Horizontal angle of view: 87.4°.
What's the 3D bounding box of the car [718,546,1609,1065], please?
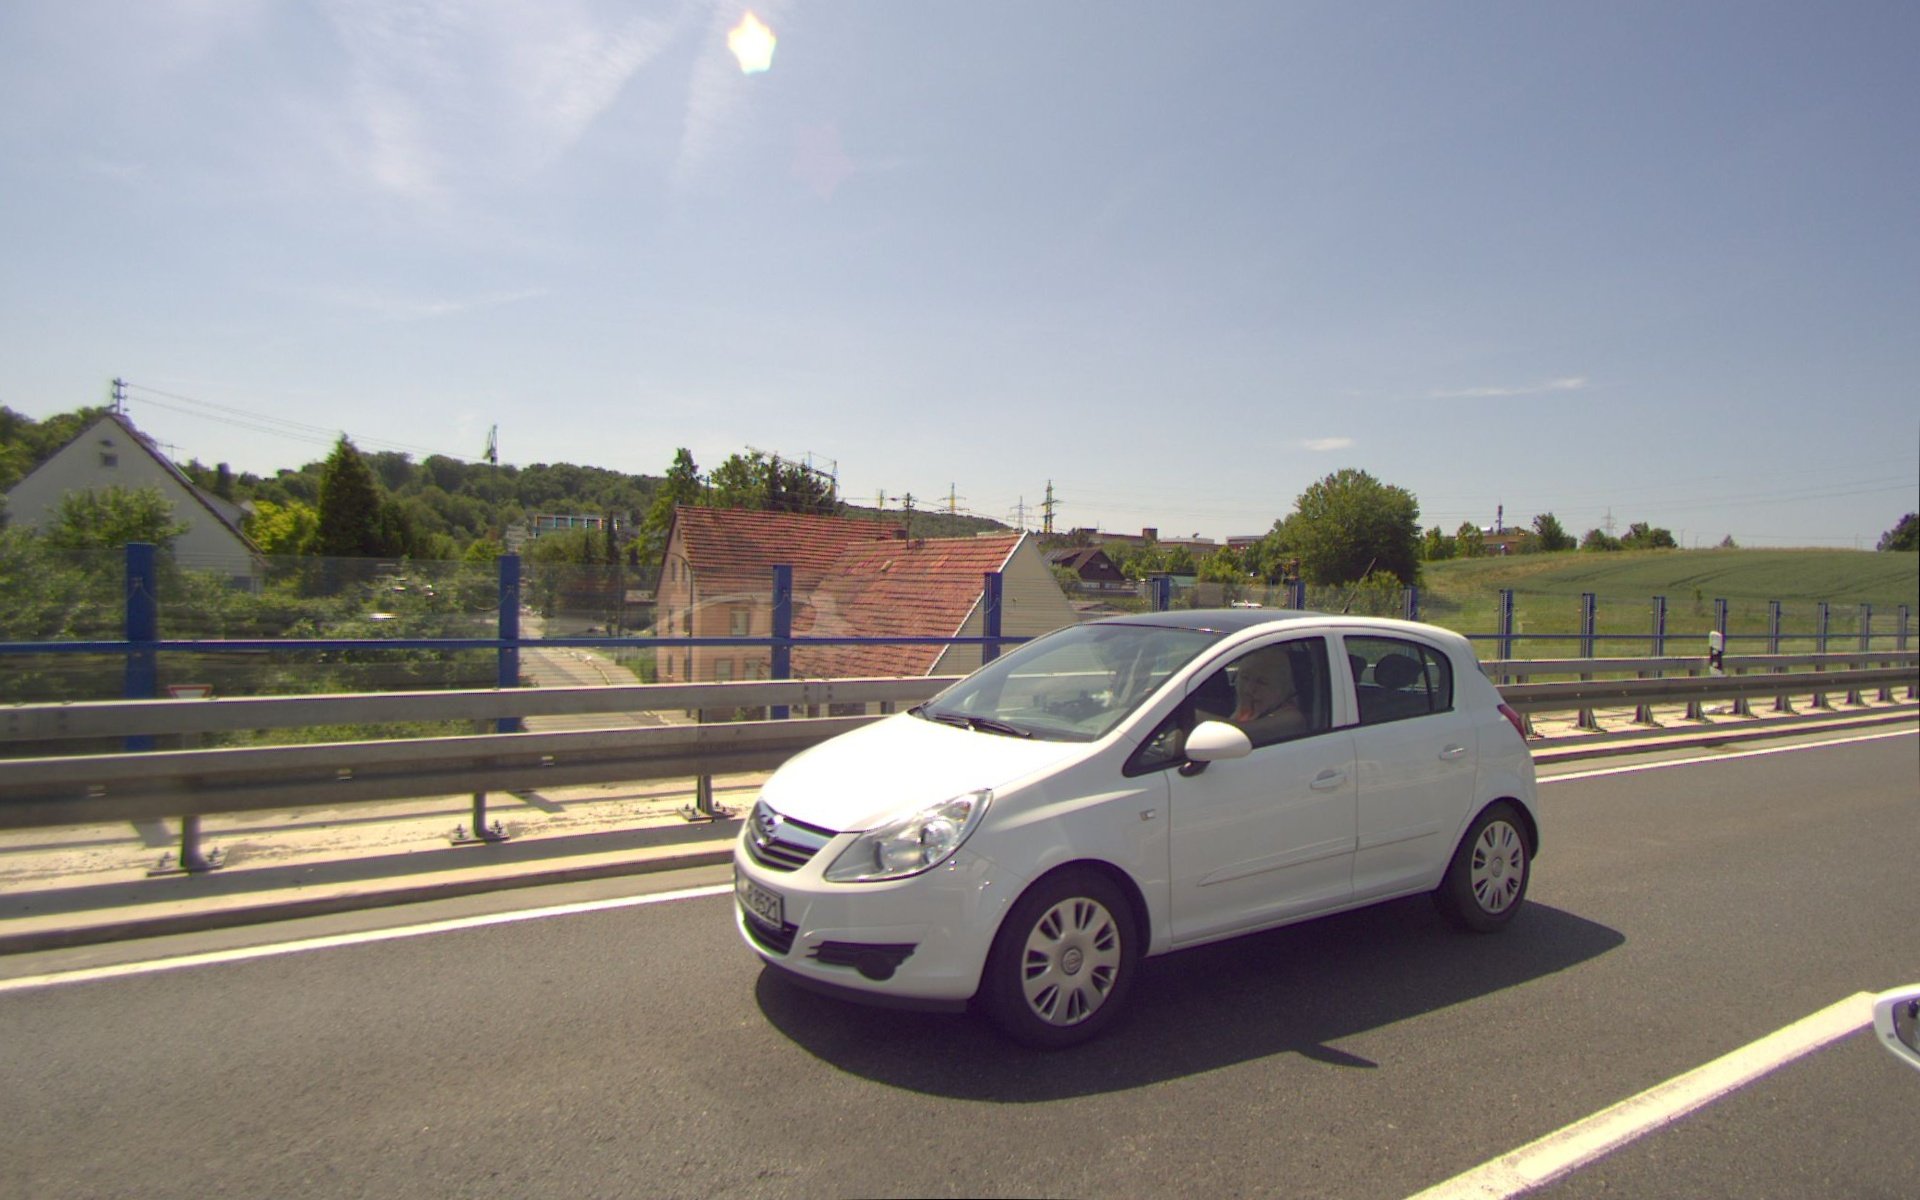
[{"bbox_3d":[1.105,0.648,4.751,4.071,1.525,1.699,1,-1,-31],"label":"car"}]
